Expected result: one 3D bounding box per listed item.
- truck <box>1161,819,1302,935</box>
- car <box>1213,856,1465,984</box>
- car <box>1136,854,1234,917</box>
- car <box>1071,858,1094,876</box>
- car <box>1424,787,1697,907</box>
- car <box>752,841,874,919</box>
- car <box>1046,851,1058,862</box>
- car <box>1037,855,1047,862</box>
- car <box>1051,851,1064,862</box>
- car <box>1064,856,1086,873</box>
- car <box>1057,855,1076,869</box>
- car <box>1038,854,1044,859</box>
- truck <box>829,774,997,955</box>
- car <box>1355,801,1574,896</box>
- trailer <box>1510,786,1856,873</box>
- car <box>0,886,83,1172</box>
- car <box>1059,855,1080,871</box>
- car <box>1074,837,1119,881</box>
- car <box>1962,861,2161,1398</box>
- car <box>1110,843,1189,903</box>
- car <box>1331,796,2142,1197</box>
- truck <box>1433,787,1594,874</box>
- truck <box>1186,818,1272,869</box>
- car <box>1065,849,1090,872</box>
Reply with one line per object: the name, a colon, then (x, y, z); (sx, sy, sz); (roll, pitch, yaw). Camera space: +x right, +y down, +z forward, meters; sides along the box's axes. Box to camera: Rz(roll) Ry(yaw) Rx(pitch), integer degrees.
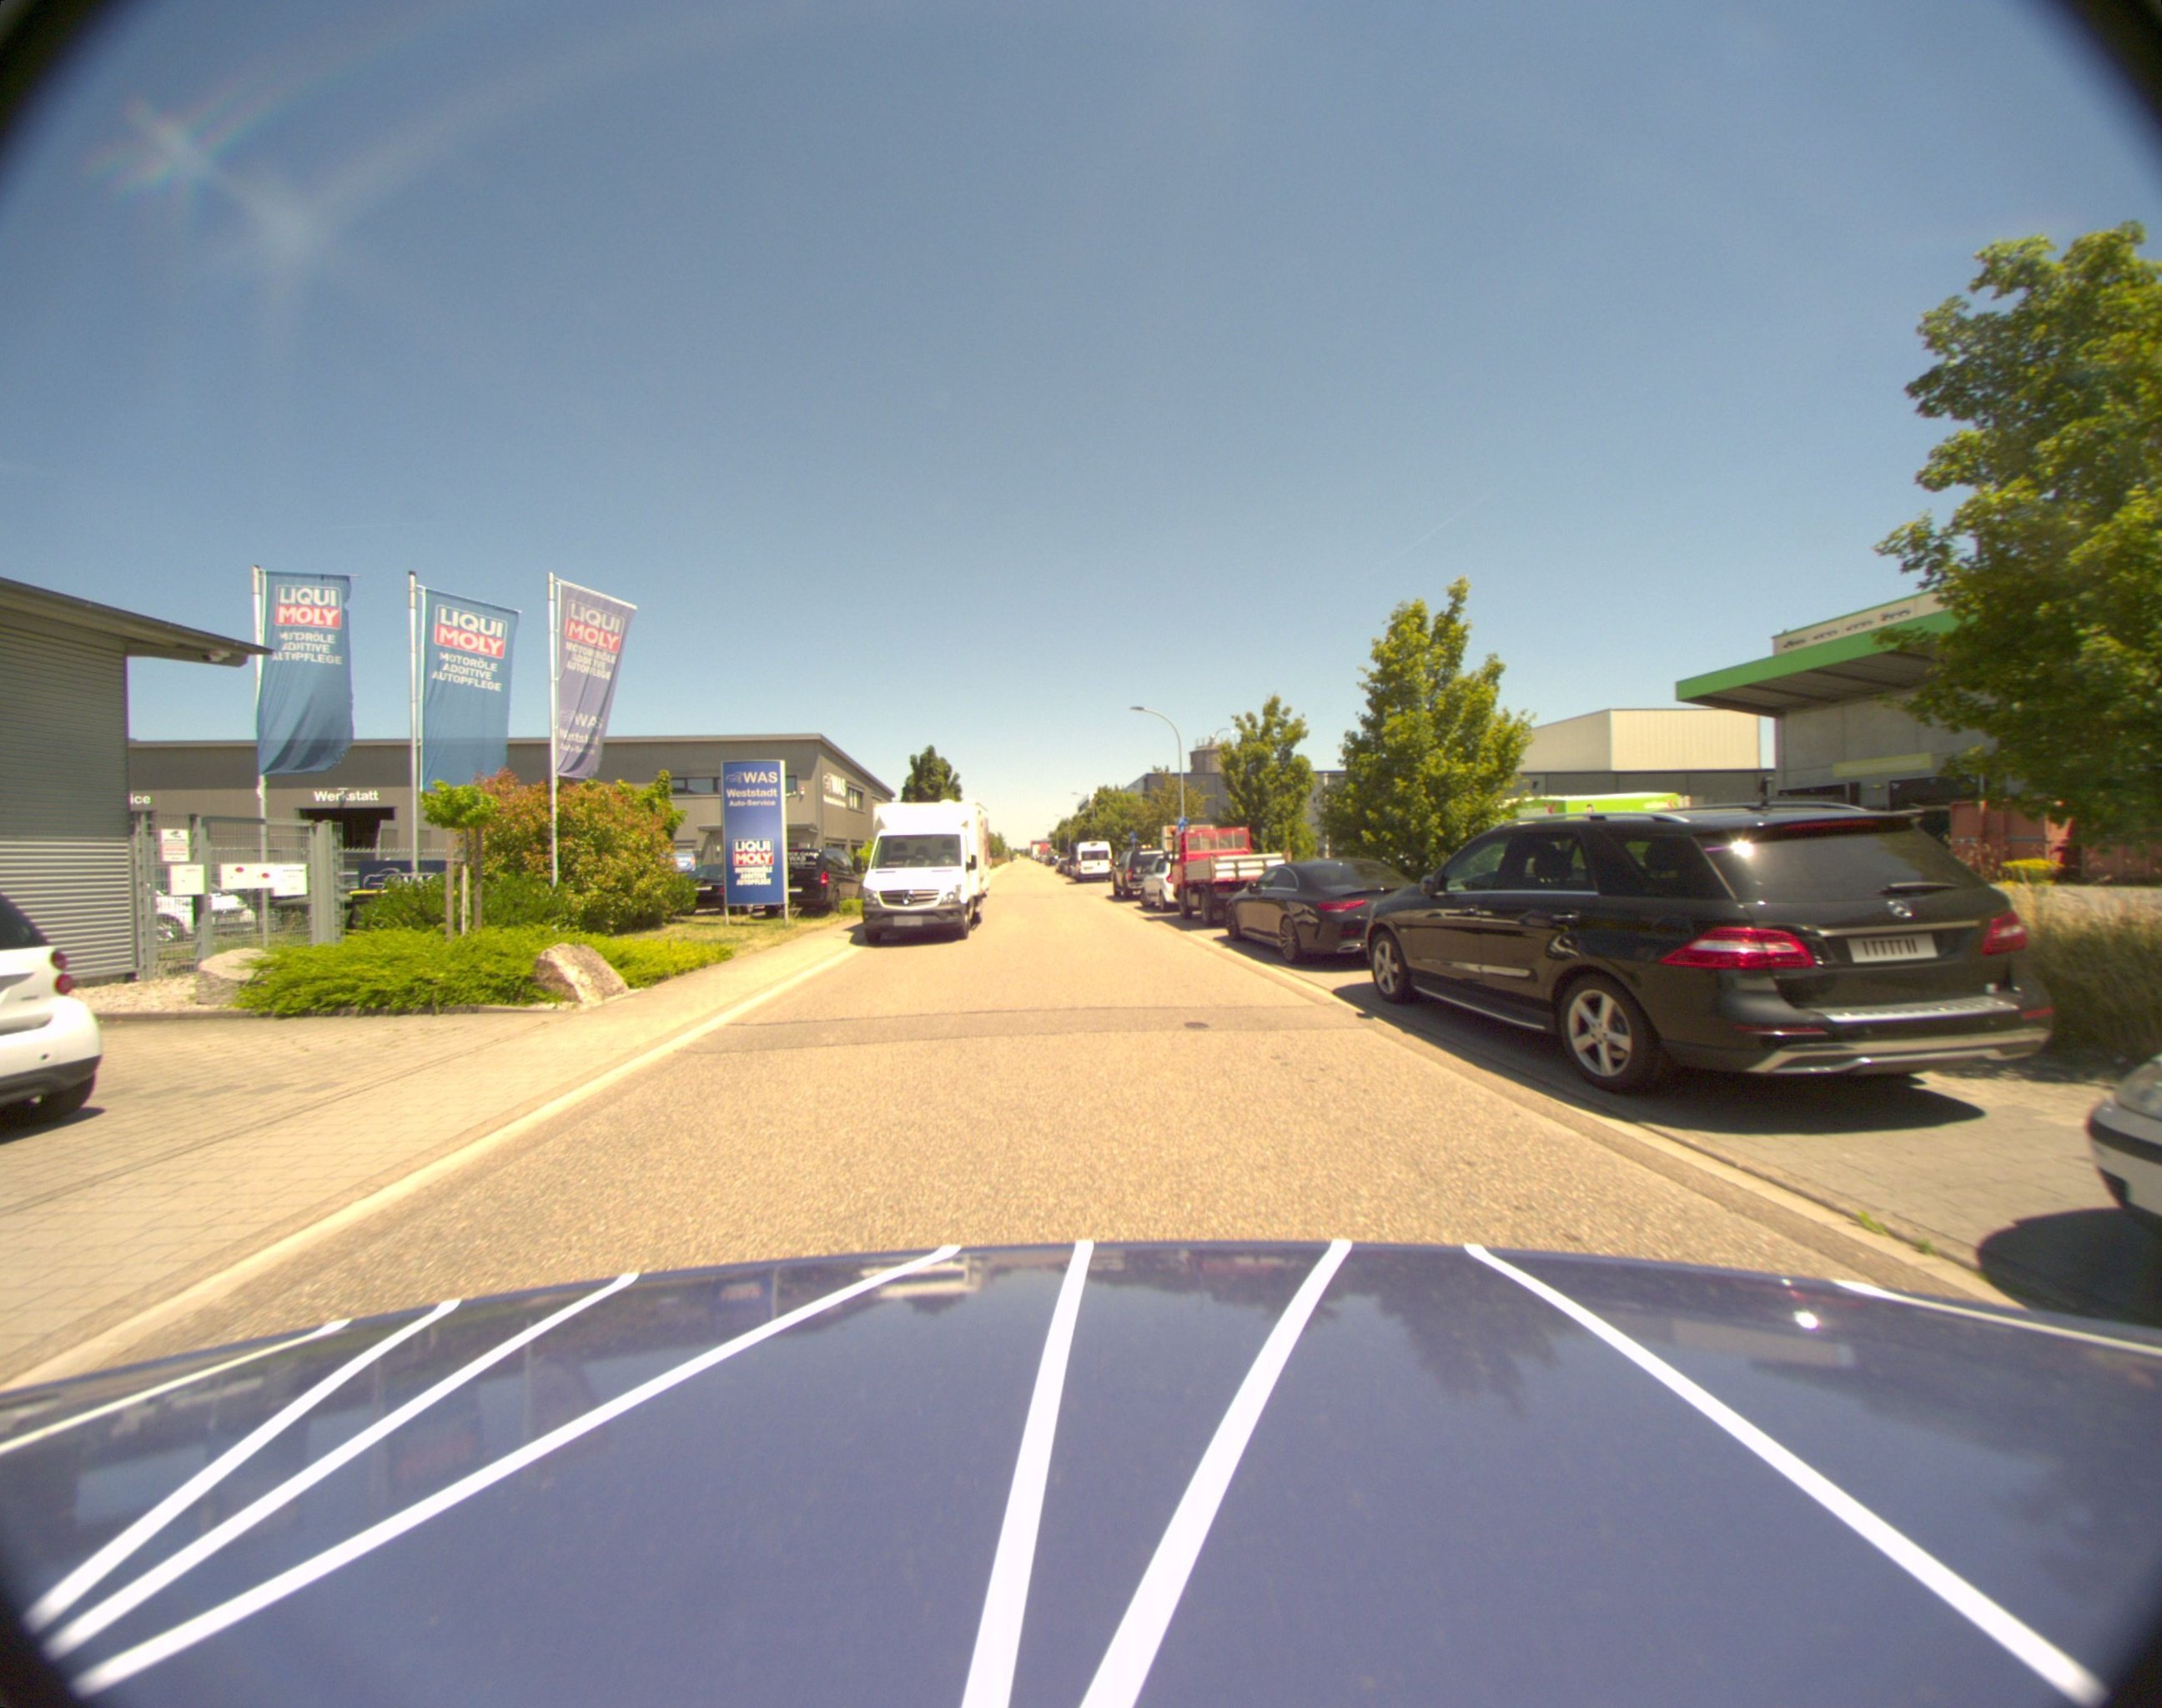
truck: (3.244, 0.458, 17.383); (1.857, 2.210, 4.644); (-3, 0, -5)
car: (3.526, 0.795, 11.498); (1.857, 1.435, 4.751); (-3, 0, -4)
car: (2.844, 0.823, 21.640); (1.857, 1.542, 3.765); (-3, 0, -6)
car: (0.086, 0.996, 60.710); (1.648, 1.303, 3.999); (-3, 0, -2)
car: (13.021, -0.196, 20.899); (5.991, 2.909, 2.520); (-2, 1, -5)
car: (-7.721, 0.680, 22.546); (1.999, 2.002, 5.334); (-1, 0, -4)
car: (-4.979, 0.465, 131.387); (1.799, 1.701, 3.829); (-3, 0, -5)
car: (-8.344, 0.944, 162.142); (1.799, 1.319, 3.829); (-3, 0, -5)
car: (-3.811, 0.462, 120.772); (1.799, 1.638, 3.829); (-3, 0, -5)
car: (-0.600, 0.939, 72.117); (1.799, 1.456, 4.450); (-3, 0, -4)
car: (-1.609, 0.880, 83.904); (1.799, 1.477, 4.188); (-3, 0, -5)
car: (-11.804, 0.682, 224.256); (1.799, 1.319, 3.829); (-3, 0, -5)
truck: (-3.365, 0.180, 16.971); (2.464, 3.186, 6.880); (-1, 0, -3)
car: (12.536, -0.191, 25.103); (5.991, 2.808, 2.520); (-2, 0, -5)
trailer: (29.808, -1.196, 37.930); (15.365, 4.064, 3.218); (-1, 0, -4)
car: (-7.199, 0.961, 3.689); (2.714, 1.532, 1.412); (0, 0, -3)
car: (-1.233, 0.923, 78.182); (1.799, 1.477, 4.449); (-3, 0, -5)
car: (0.903, 0.290, 48.954); (2.329, 2.583, 6.083); (-3, 0, -3)
car: (4.252, 0.772, 0.284); (1.857, 1.510, 4.902); (-3, 0, -7)
car: (2.382, 0.617, 27.943); (1.979, 1.889, 5.400); (-3, 0, -4)
car: (3.884, 0.642, 5.993); (1.856, 1.748, 4.985); (-3, 0, -3)
truck: (21.112, -1.118, 37.338); (6.123, 4.064, 3.218); (-1, 0, -4)
truck: (11.999, -0.824, 61.790); (6.057, 3.948, 3.152); (-1, 1, -16)
car: (-0.329, 0.532, 65.675); (1.836, 1.800, 4.081); (-3, 0, -3)
